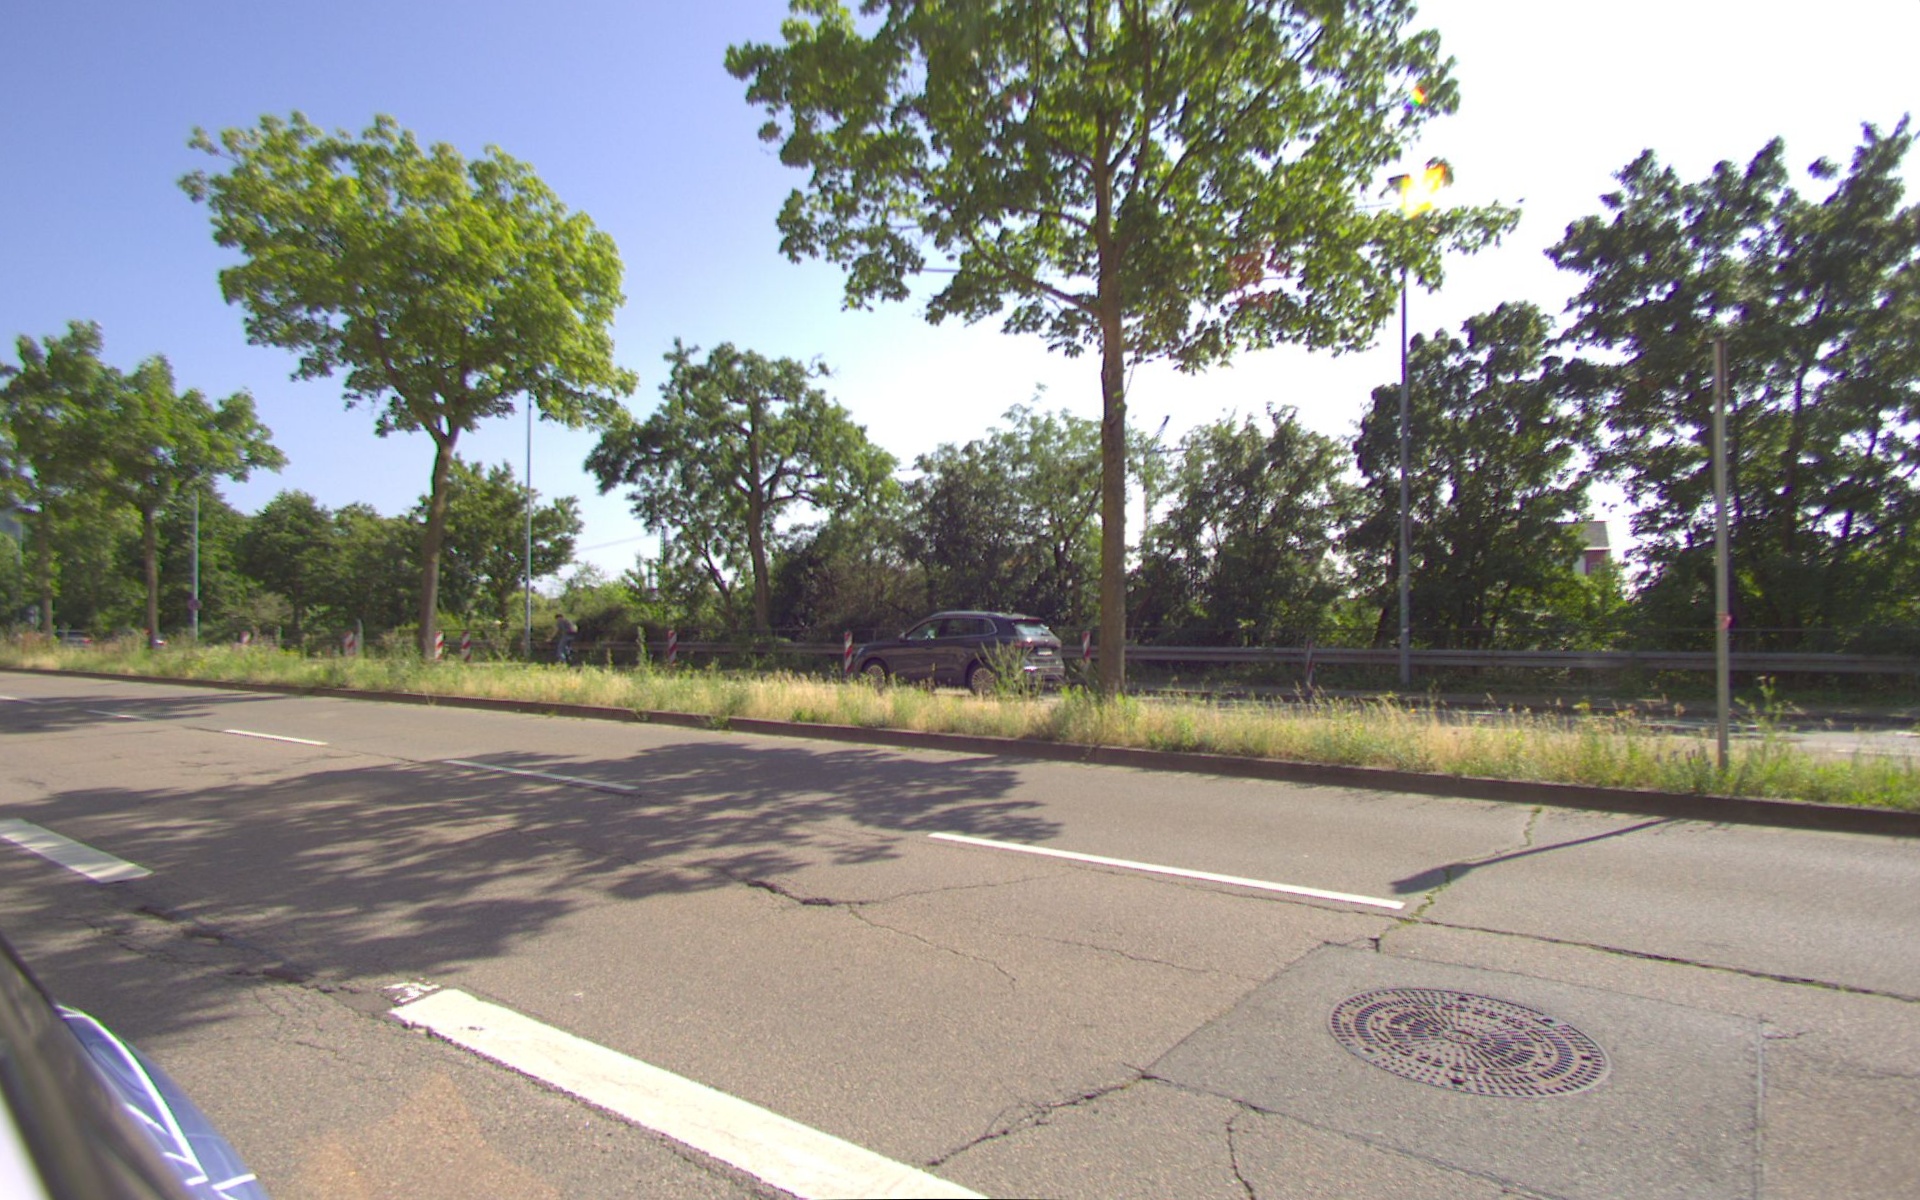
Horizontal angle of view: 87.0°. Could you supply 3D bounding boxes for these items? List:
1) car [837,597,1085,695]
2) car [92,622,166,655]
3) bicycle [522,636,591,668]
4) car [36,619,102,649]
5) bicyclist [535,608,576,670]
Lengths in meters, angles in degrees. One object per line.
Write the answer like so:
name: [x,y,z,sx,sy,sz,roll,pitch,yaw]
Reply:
car: [-0.055,0.868,20.186,4.721,1.747,1.975,-1,-2,37]
car: [-38.470,1.766,46.838,4.077,1.485,1.747,-1,-2,37]
bicycle: [-12.222,1.568,30.620,2.333,0.912,0.688,-1,-1,31]
car: [-48.678,1.822,55.253,3.990,1.541,1.783,-1,-1,34]
bicyclist: [-12.204,1.169,30.561,1.013,1.846,0.691,-1,-2,32]
